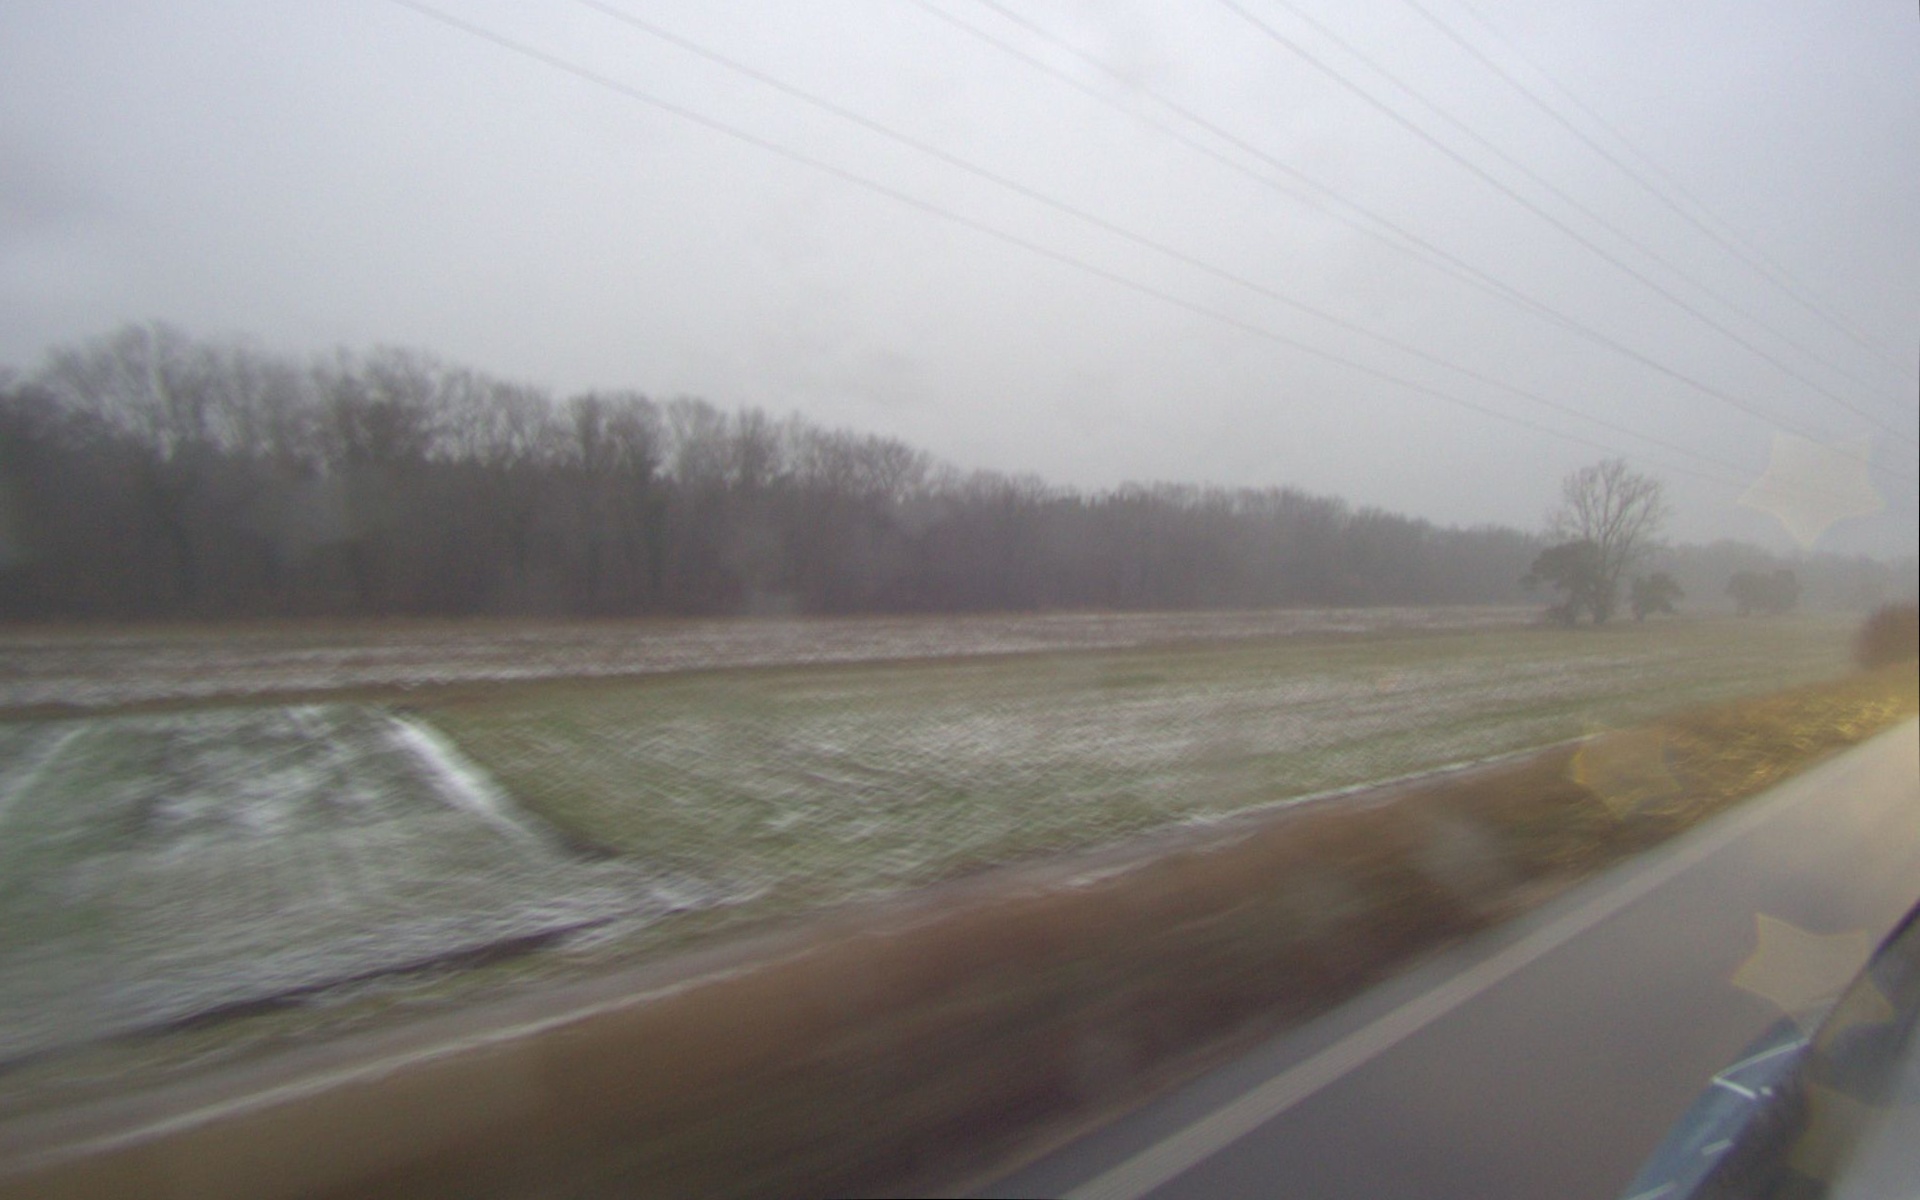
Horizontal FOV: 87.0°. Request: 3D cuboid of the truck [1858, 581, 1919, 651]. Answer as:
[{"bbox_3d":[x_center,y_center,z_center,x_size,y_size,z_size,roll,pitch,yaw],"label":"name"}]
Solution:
[{"bbox_3d":[39.138,0.561,41.202,10.616,2.604,2.508,0,0,-41],"label":"truck"}]
